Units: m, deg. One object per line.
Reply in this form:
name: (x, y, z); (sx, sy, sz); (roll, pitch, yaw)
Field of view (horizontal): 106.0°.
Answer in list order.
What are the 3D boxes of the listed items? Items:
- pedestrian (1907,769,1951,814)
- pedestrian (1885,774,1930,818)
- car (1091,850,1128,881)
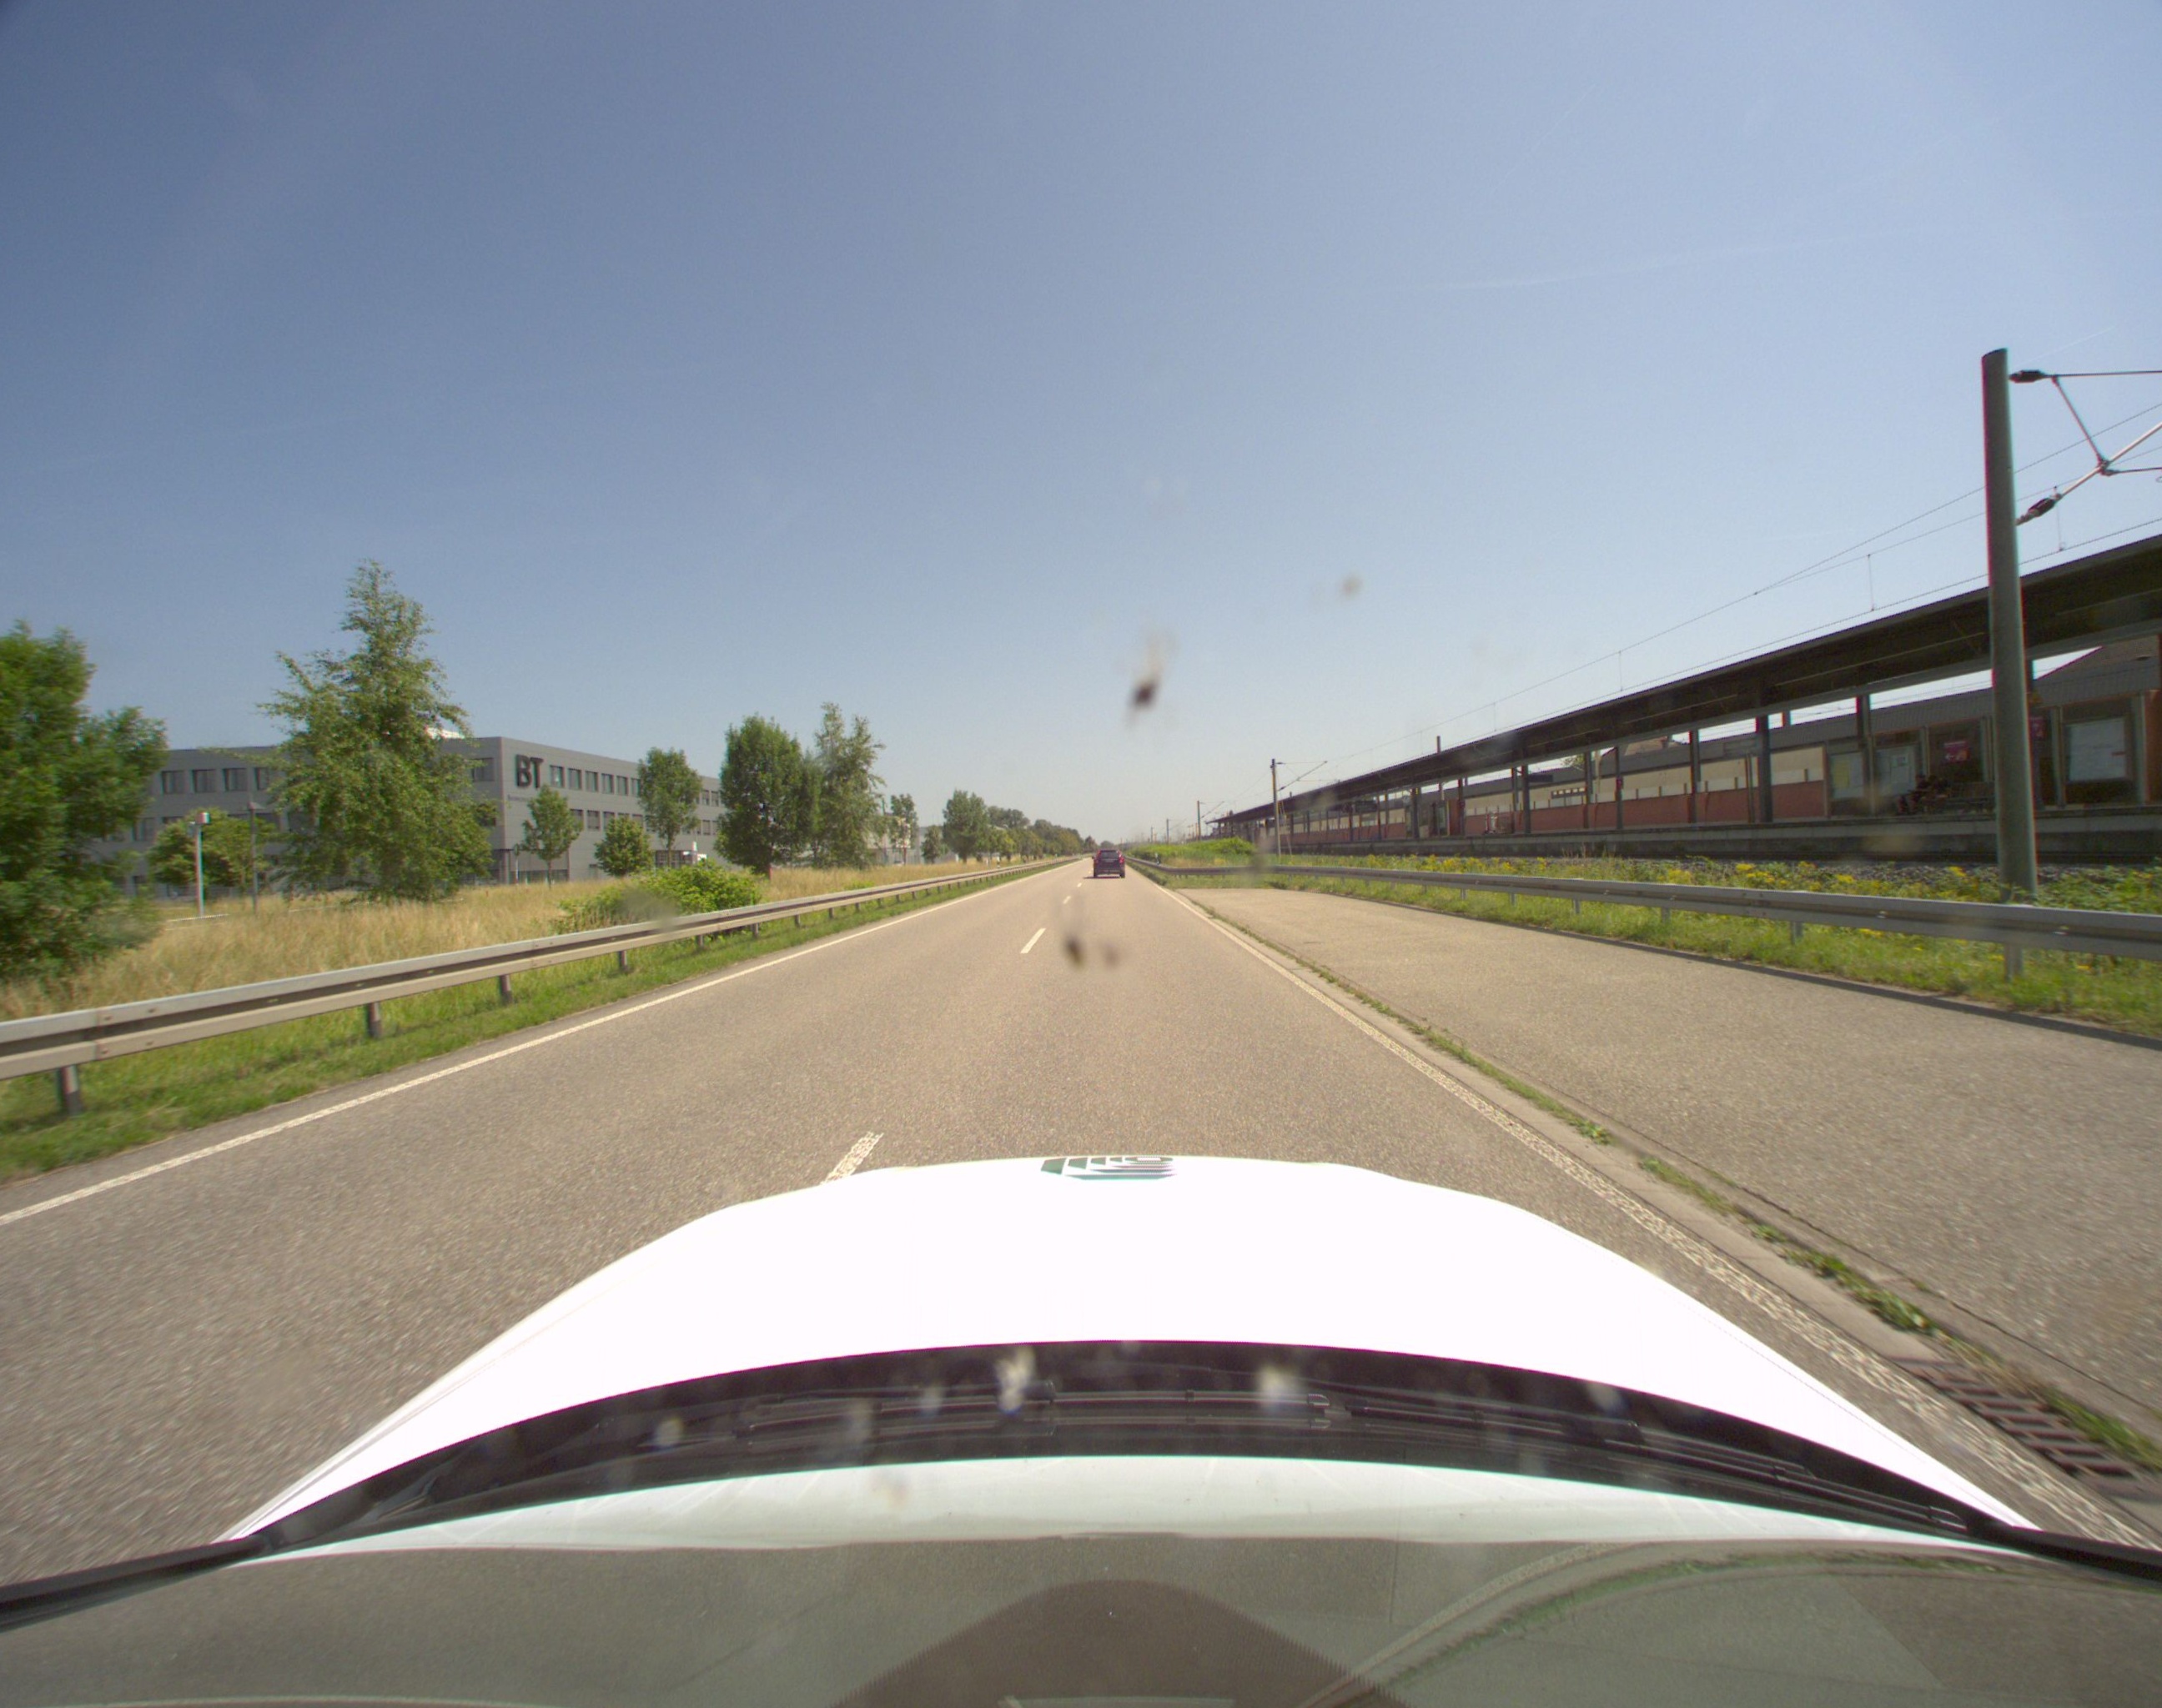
pedestrian: (23.432, -1.721, 22.512); (0.674, 1.214, 0.531); (-1, 0, -1)
pedestrian: (23.431, -1.645, 23.094); (0.693, 1.194, 0.591); (-1, 0, -1)
car: (1.673, 0.657, 48.792); (1.987, 1.700, 3.999); (-1, 0, -1)
